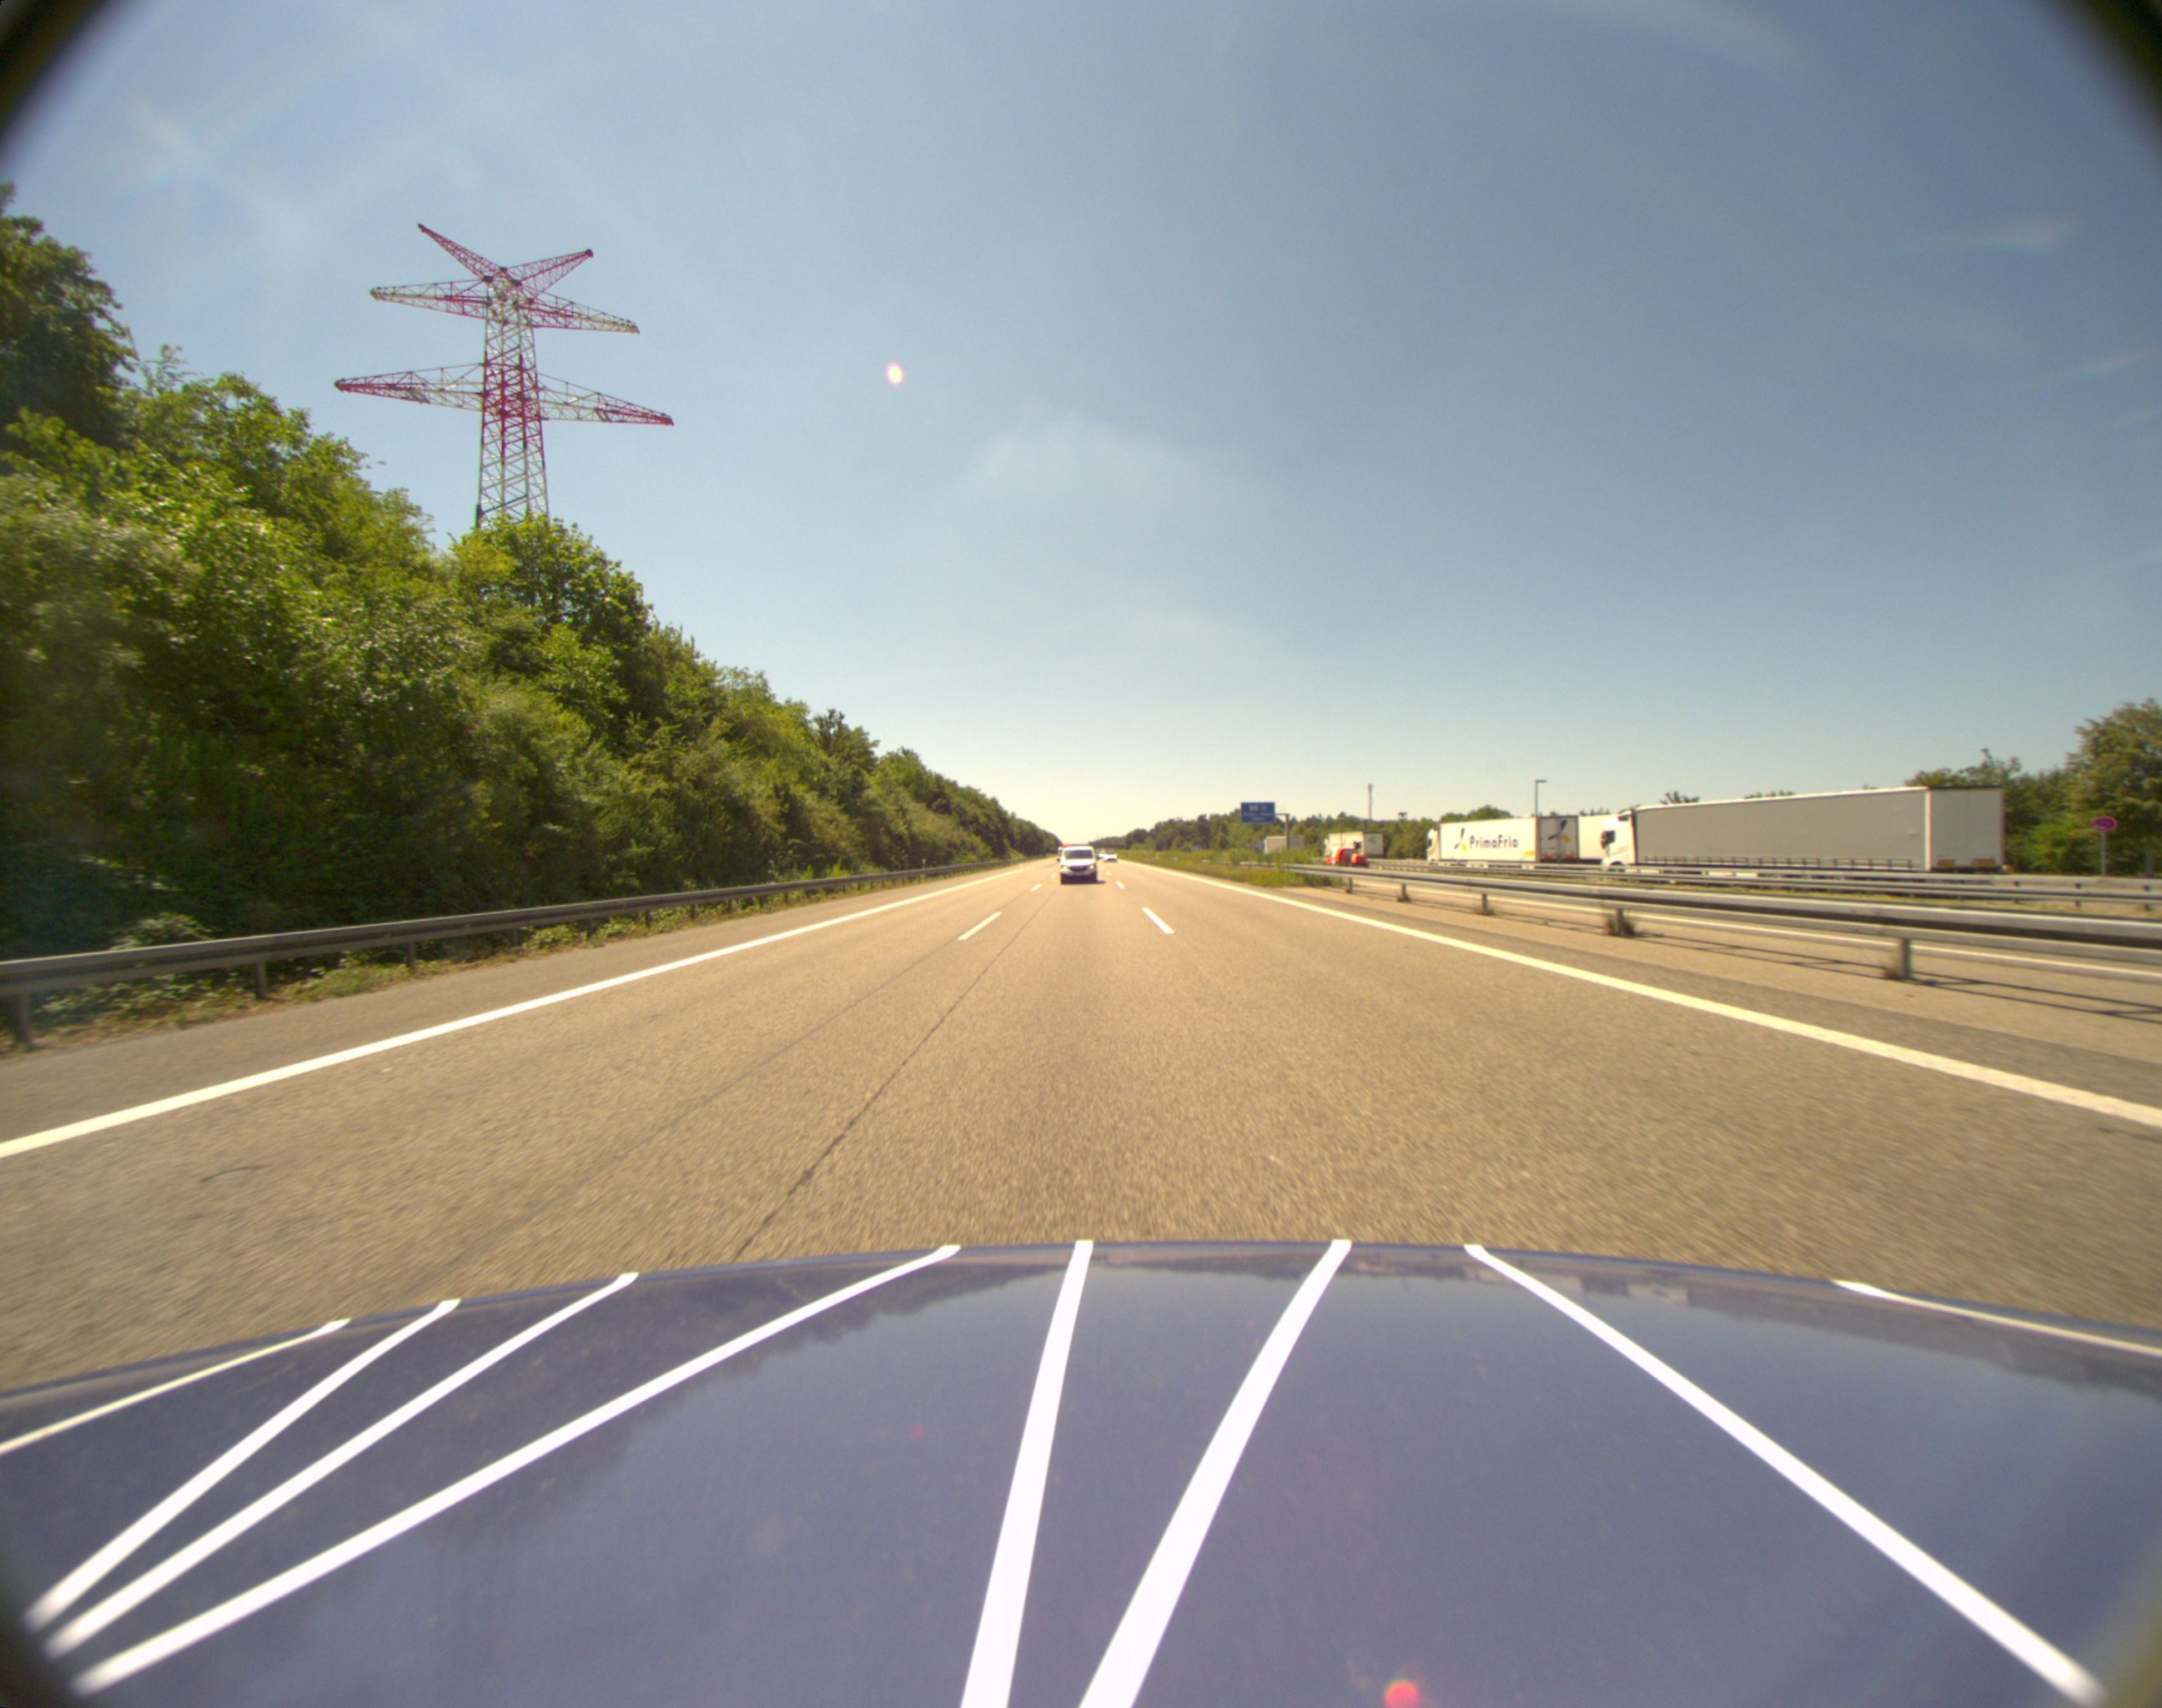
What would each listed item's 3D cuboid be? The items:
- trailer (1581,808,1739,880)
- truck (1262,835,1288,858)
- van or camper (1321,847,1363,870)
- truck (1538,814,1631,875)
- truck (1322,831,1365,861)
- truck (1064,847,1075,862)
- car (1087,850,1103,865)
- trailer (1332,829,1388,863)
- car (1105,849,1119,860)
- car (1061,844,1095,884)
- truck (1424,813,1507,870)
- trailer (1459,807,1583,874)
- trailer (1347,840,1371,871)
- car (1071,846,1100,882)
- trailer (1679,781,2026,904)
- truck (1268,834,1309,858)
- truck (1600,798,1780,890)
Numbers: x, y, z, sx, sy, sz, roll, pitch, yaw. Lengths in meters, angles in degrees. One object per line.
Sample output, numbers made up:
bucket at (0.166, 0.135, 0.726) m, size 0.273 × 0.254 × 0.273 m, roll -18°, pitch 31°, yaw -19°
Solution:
trailer at (35.687, -0.608, 47.445) m, size 2.702 × 3.983 × 9.306 m, roll -2°, pitch 1°, yaw 0°
truck at (32.902, -1.311, 128.917) m, size 2.806 × 3.622 × 6.146 m, roll -2°, pitch 1°, yaw 0°
van or camper at (21.698, 0.321, 63.366) m, size 1.901 × 1.828 × 4.746 m, roll -1°, pitch 0°, yaw 0°
truck at (35.715, -0.665, 54.154) m, size 2.702 × 3.983 × 5.743 m, roll -2°, pitch 1°, yaw 0°
truck at (37.639, -1.139, 109.315) m, size 3.103 × 4.128 × 8.315 m, roll -2°, pitch 1°, yaw 0°
truck at (-2.902, 0.056, 196.228) m, size 2.540 × 3.656 × 5.219 m, roll -2°, pitch 1°, yaw 1°
car at (1.522, 0.353, 83.323) m, size 1.586 × 1.497 × 3.793 m, roll -2°, pitch 1°, yaw 1°
trailer at (37.611, -1.087, 102.986) m, size 3.102 × 4.132 × 12.009 m, roll -2°, pitch 1°, yaw 0°
car at (4.251, 0.121, 105.536) m, size 1.775 × 1.410 × 3.401 m, roll -2°, pitch 1°, yaw 1°
car at (-0.147, 0.462, 36.970) m, size 1.501 × 1.799 × 3.393 m, roll -2°, pitch 1°, yaw 0°
truck at (30.665, -0.978, 61.008) m, size 2.588 × 4.164 × 7.935 m, roll -2°, pitch 1°, yaw 0°
trailer at (30.628, -0.911, 53.614) m, size 2.605 × 4.194 × 10.513 m, roll -2°, pitch 1°, yaw 0°
trailer at (21.729, 0.095, 59.448) m, size 1.170 × 2.355 × 1.998 m, roll -1°, pitch 1°, yaw 0°
car at (0.212, 0.486, 40.636) m, size 1.413 × 1.795 × 3.200 m, roll -2°, pitch 1°, yaw 0°
trailer at (31.039, -0.430, 31.790) m, size 3.121 × 4.134 × 11.013 m, roll -3°, pitch 1°, yaw -1°
truck at (32.843, -1.256, 120.871) m, size 2.806 × 3.622 × 13.605 m, roll -2°, pitch 1°, yaw 0°
truck at (30.935, -0.506, 39.153) m, size 3.125 × 4.134 × 7.503 m, roll -3°, pitch 1°, yaw -1°
